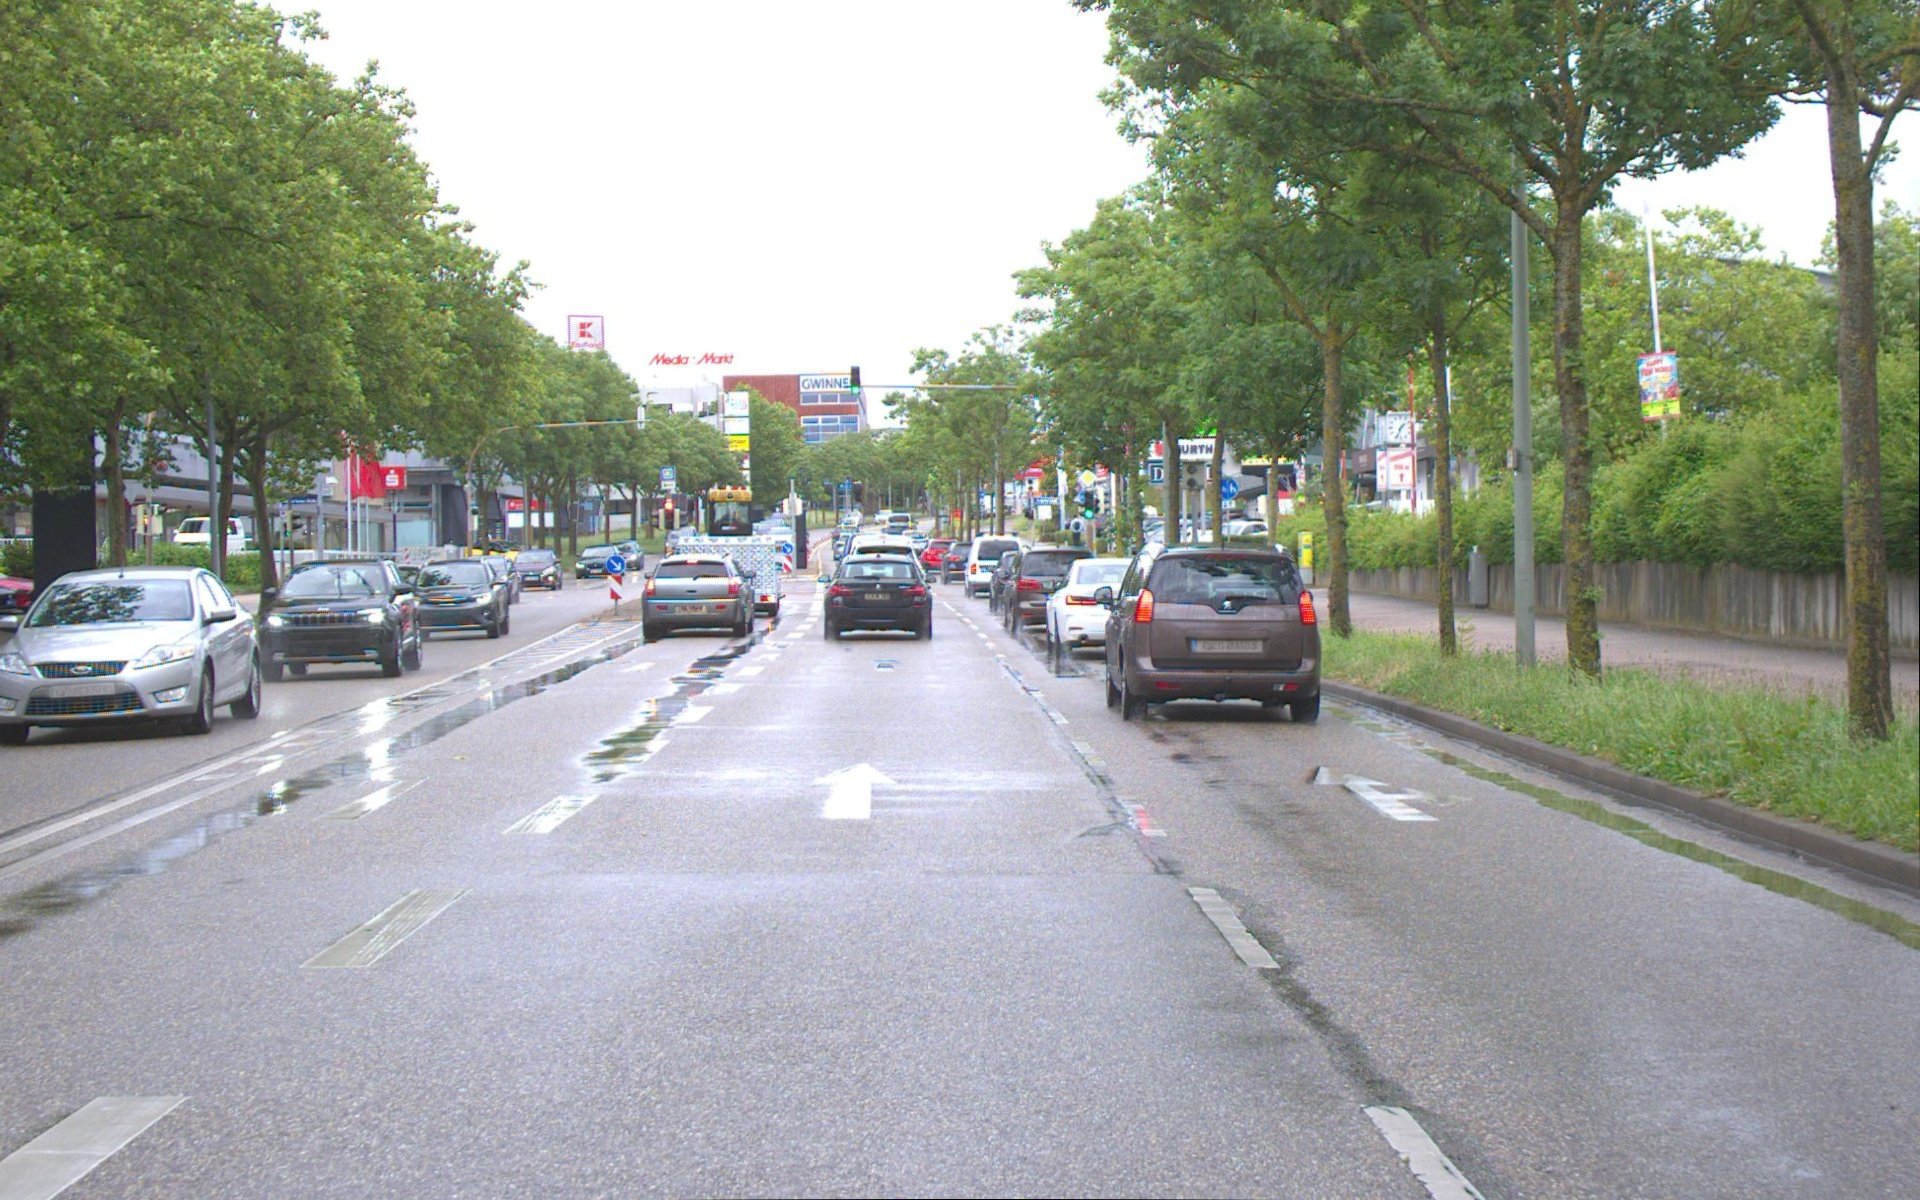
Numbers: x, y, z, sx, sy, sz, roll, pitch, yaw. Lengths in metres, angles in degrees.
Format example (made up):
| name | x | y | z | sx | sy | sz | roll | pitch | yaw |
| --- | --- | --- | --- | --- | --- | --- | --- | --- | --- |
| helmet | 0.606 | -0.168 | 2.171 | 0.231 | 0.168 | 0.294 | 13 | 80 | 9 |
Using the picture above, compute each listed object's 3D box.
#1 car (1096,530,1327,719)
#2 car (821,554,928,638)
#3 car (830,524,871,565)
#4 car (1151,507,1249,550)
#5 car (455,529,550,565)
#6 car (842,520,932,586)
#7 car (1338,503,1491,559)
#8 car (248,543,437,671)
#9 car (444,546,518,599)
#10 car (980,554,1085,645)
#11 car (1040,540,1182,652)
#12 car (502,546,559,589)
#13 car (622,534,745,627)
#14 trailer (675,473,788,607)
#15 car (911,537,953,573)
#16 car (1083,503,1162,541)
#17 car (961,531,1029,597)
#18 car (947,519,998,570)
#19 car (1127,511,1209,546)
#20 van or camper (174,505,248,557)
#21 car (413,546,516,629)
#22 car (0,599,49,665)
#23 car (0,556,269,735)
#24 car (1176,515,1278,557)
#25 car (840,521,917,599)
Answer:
| name | x | y | z | sx | sy | sz | roll | pitch | yaw |
| --- | --- | --- | --- | --- | --- | --- | --- | --- | --- |
| car | 2.293 | 0.173 | 32.339 | 1.726 | 1.619 | 4.471 | -1 | 1 | -1 |
| car | -1.505 | -0.094 | 59.793 | 1.781 | 1.393 | 4.001 | 0 | 1 | -2 |
| car | -5.551 | -2.823 | 174.568 | 1.993 | 2.007 | 4.000 | 1 | 0 | -1 |
| car | 10.511 | -3.134 | 150.480 | 4.016 | 1.657 | 1.982 | -5 | 3 | -41 |
| car | -20.849 | -2.409 | 156.742 | 3.994 | 1.546 | 1.896 | -1 | 2 | 33 |
| car | -1.615 | -1.041 | 75.140 | 1.682 | 1.372 | 4.001 | -1 | 1 | -5 |
| car | 12.505 | -1.905 | 94.661 | 3.987 | 1.437 | 1.655 | -1 | 1 | 1 |
| car | -8.038 | 0.053 | 45.056 | 1.762 | 1.526 | 3.858 | -3 | 1 | -1 |
| car | -13.852 | -0.819 | 99.607 | 1.709 | 1.460 | 4.086 | -2 | 1 | -3 |
| car | 1.335 | -0.047 | 64.895 | 1.801 | 1.581 | 4.451 | 1 | 1 | -1 |
| car | 2.176 | -0.096 | 50.711 | 1.801 | 1.539 | 4.620 | 1 | 1 | -1 |
| car | -15.525 | -1.192 | 124.301 | 1.709 | 1.460 | 4.086 | -2 | 1 | -3 |
| car | -5.007 | -0.385 | 62.844 | 1.907 | 1.573 | 4.881 | -2 | 1 | -1 |
| trailer | -5.142 | -1.357 | 77.953 | 2.372 | 2.887 | 5.546 | -1 | 1 | -3 |
| car | -1.169 | -1.866 | 141.867 | 1.695 | 1.438 | 3.989 | -1 | 1 | -1 |
| car | 8.757 | -4.225 | 185.691 | 4.111 | 1.898 | 1.800 | -1 | 2 | 0 |
| car | 0.999 | -1.074 | 100.566 | 1.781 | 1.860 | 4.000 | -1 | 1 | -2 |
| car | 0.417 | -1.887 | 118.001 | 1.685 | 1.678 | 3.403 | 1 | 0 | -1 |
| car | 9.468 | -3.242 | 156.209 | 3.589 | 1.530 | 1.643 | -2 | 2 | -41 |
| van or camper | -29.376 | -2.701 | 134.968 | 1.993 | 1.960 | 4.789 | 1 | 0 | -2 |
| car | -9.350 | -0.257 | 65.111 | 1.666 | 1.457 | 4.181 | -2 | 1 | -5 |
| car | -25.316 | 0.872 | 86.620 | 4.217 | 1.590 | 2.000 | -3 | 2 | -24 |
| car | -7.560 | 0.351 | 30.958 | 1.993 | 1.424 | 4.686 | -2 | 1 | -4 |
| car | 10.749 | -2.574 | 138.010 | 1.930 | 1.571 | 4.278 | 0 | 2 | 40 |
| car | -2.182 | -1.059 | 92.216 | 1.993 | 2.007 | 4.000 | 1 | 0 | -1 |
